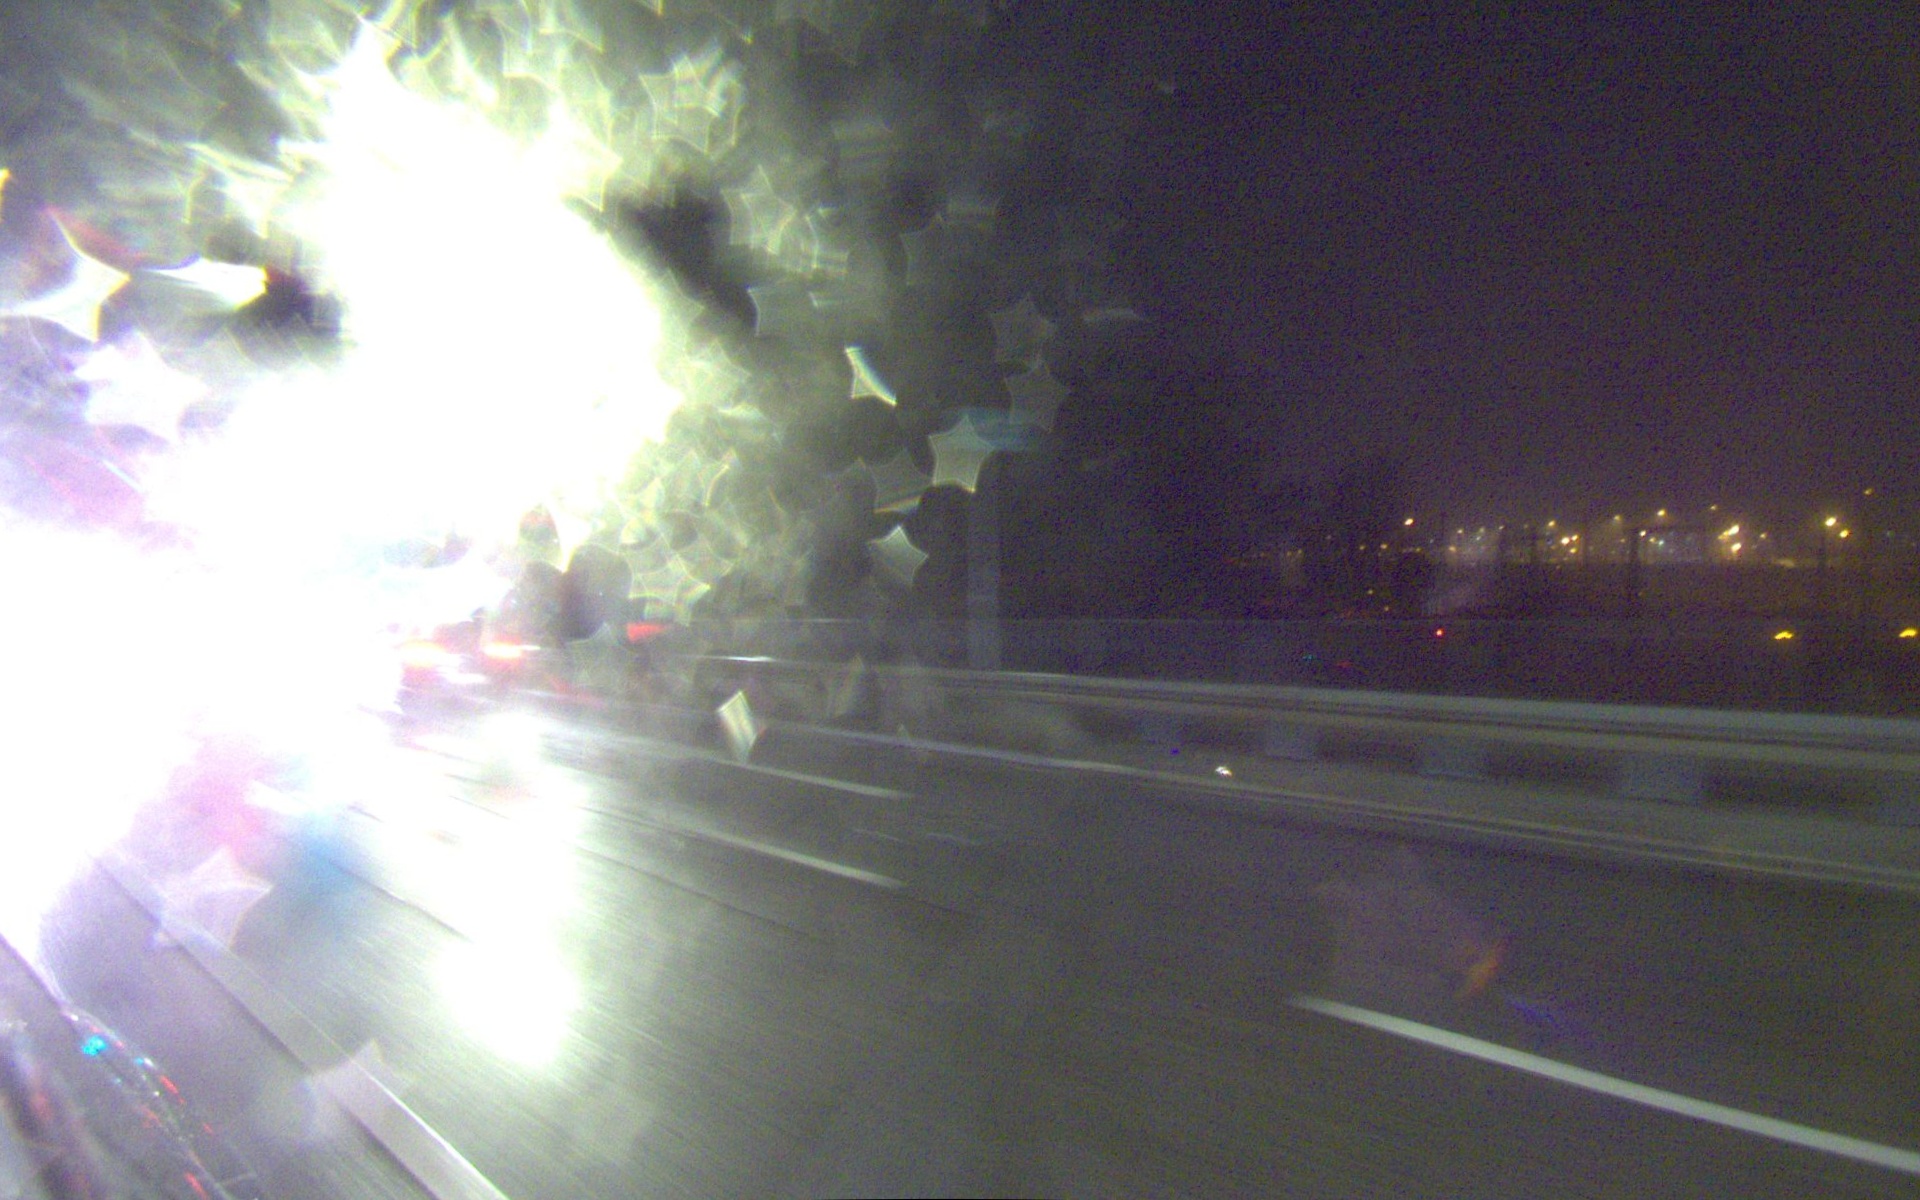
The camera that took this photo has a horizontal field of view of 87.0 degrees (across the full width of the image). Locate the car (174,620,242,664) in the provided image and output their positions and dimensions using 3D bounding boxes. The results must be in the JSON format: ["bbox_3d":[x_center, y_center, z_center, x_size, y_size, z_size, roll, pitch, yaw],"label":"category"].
[{"bbox_3d":[-31.732,1.722,42.833,1.972,1.687,4.630,-1,-1,-33],"label":"car"}]

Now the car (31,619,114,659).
[{"bbox_3d":[-49.279,2.139,56.286,1.966,2.029,4.012,-2,-1,-17],"label":"car"}]

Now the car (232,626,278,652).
[{"bbox_3d":[-57.377,3.151,82.450,1.838,2.029,4.011,-2,-1,-16],"label":"car"}]

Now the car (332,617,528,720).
[{"bbox_3d":[-8.625,1.016,16.293,1.745,1.438,4.223,2,-2,-43],"label":"car"}]

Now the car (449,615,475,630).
[{"bbox_3d":[-54.973,2.480,111.730,1.957,1.617,4.848,0,-2,-18],"label":"car"}]

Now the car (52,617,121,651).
[{"bbox_3d":[-56.022,2.147,65.007,1.838,2.029,4.011,-2,-1,-16],"label":"car"}]

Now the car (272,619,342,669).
[{"bbox_3d":[-21.650,1.423,33.504,1.743,1.529,3.958,0,-1,-36],"label":"car"}]

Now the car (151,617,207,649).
[{"bbox_3d":[-53.438,2.253,69.299,1.838,2.029,4.012,-1,-1,-19],"label":"car"}]

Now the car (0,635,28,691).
[{"bbox_3d":[-41.737,2.763,43.260,1.967,2.027,4.011,-7,7,-33],"label":"car"}]
